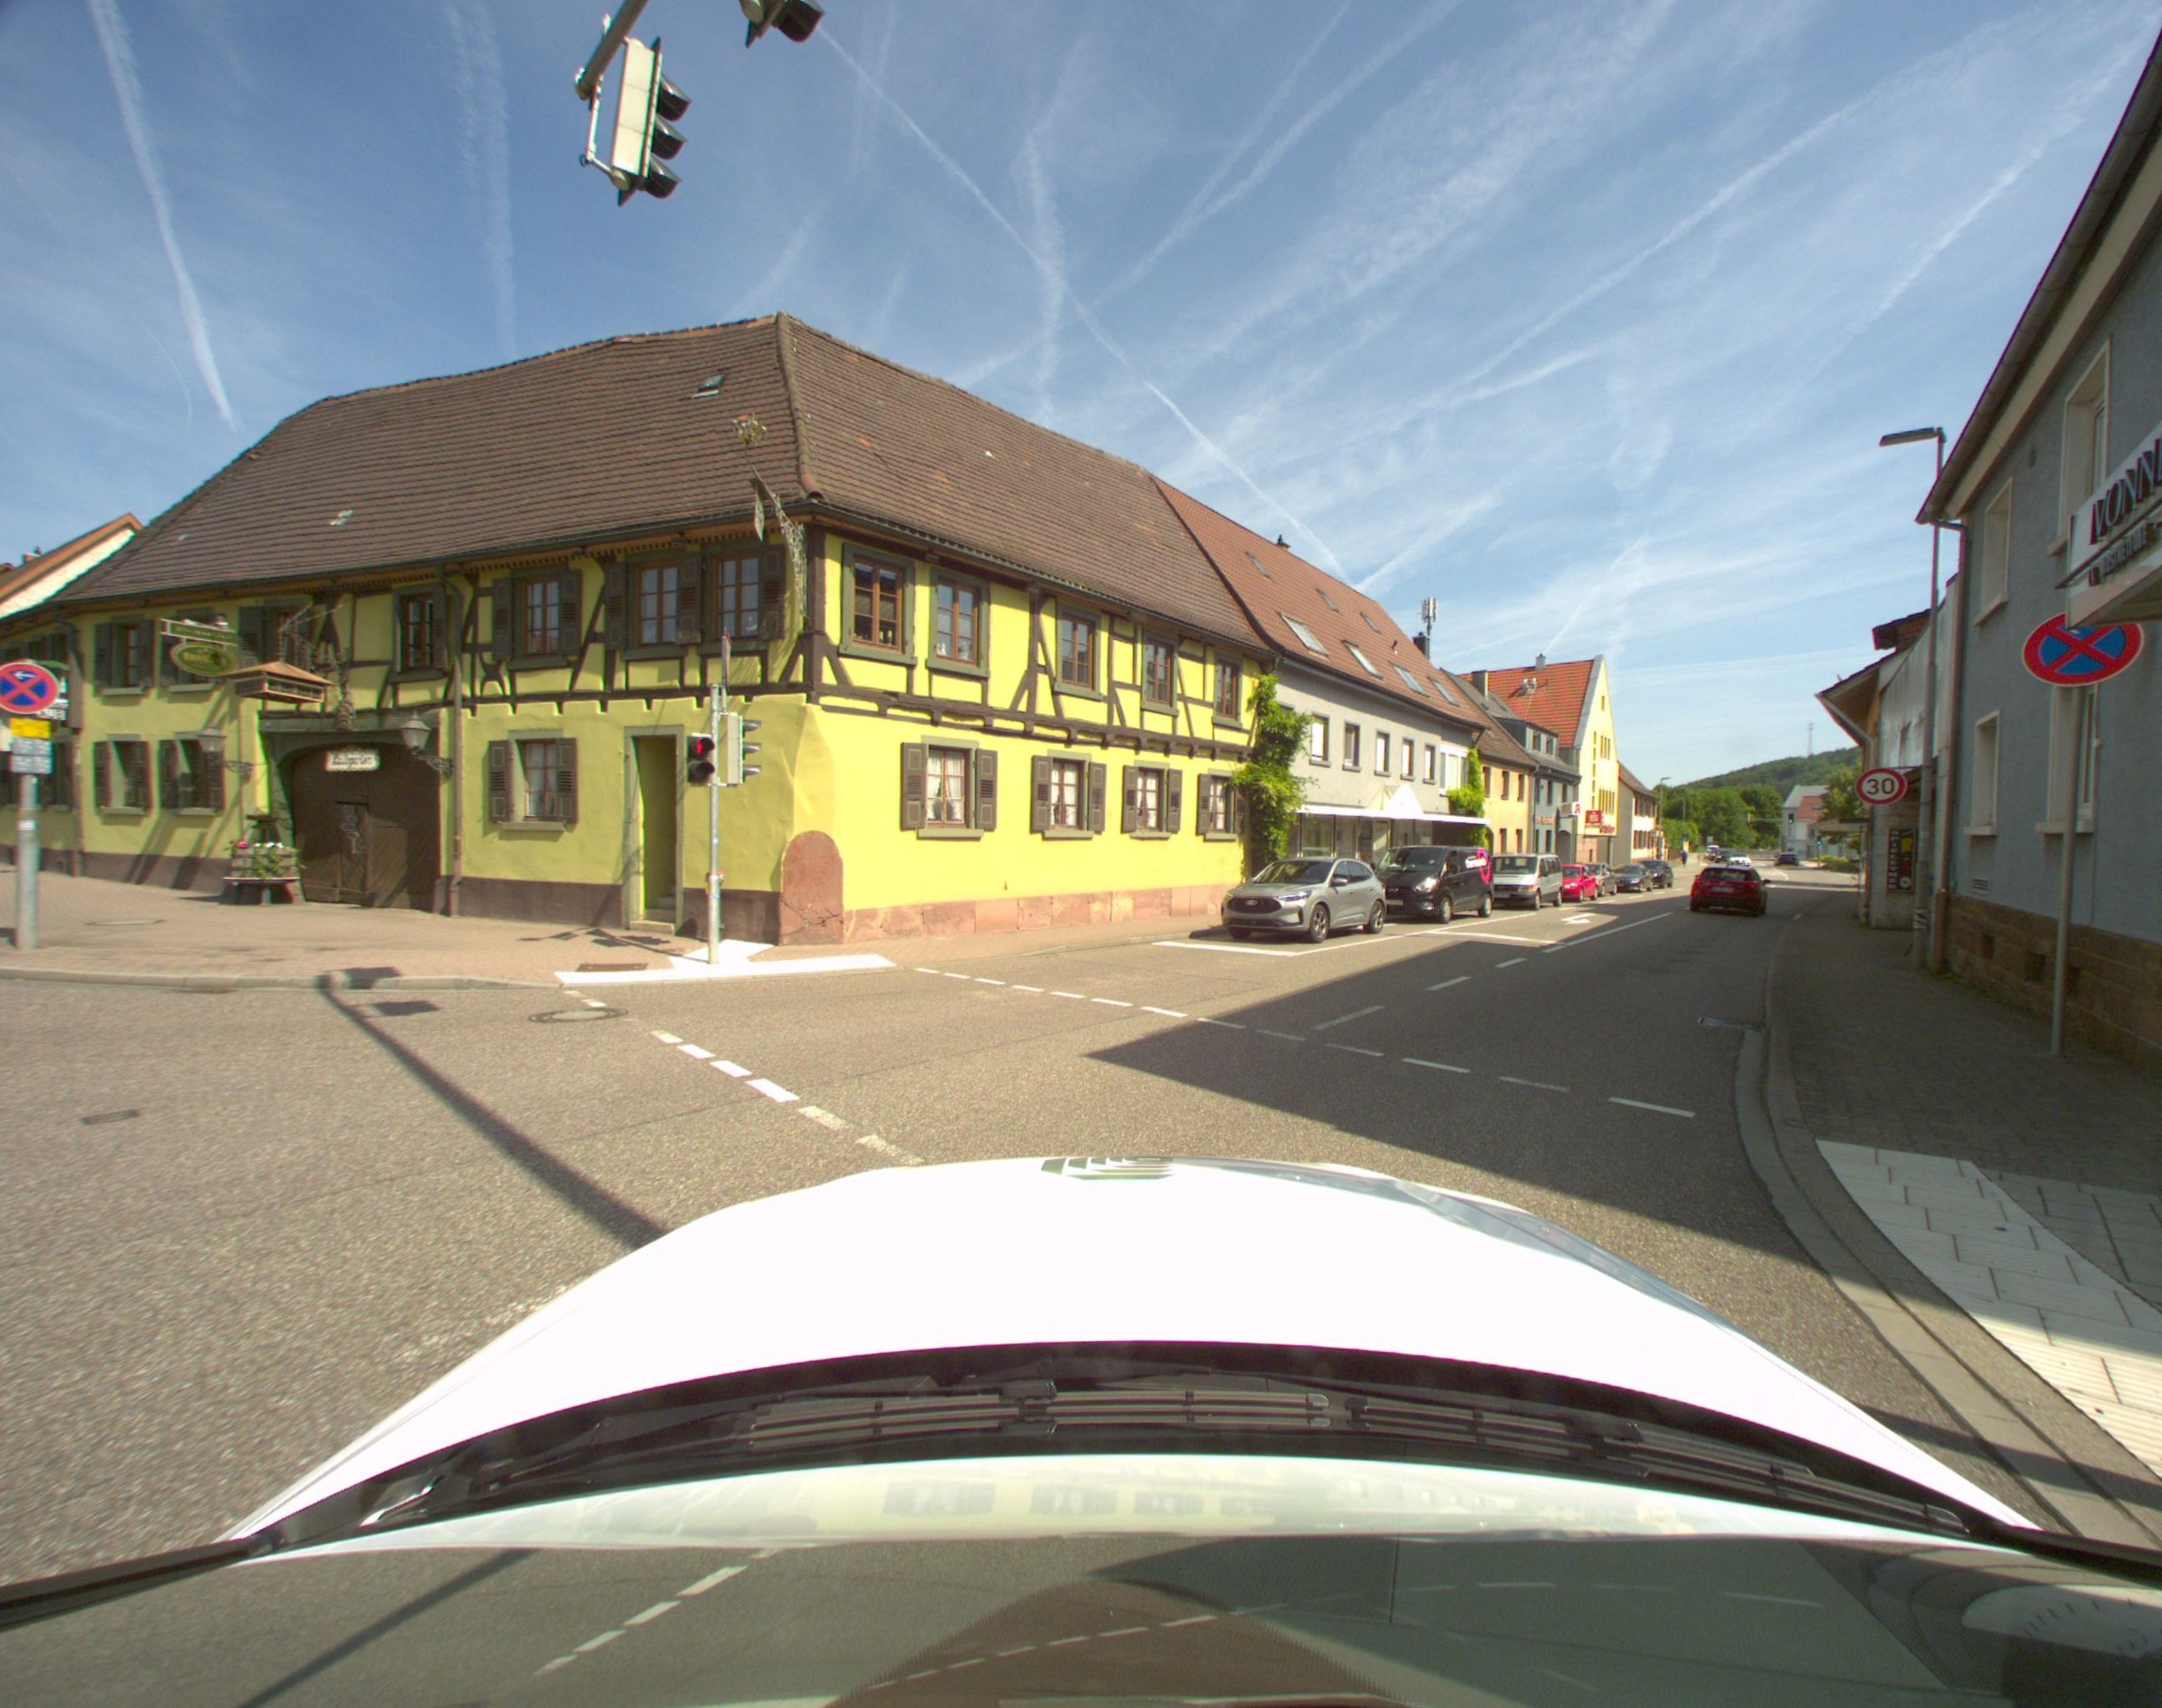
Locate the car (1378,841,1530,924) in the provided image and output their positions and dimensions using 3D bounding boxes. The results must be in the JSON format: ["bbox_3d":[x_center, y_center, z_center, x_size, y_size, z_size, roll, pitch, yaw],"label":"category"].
[{"bbox_3d":[9.921,0.689,21.420,2.139,1.923,5.196,-1,-1,42],"label":"car"}]

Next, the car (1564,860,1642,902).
[{"bbox_3d":[20.286,0.991,31.596,1.742,1.492,4.100,0,0,45],"label":"car"}]

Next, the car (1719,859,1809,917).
[{"bbox_3d":[23.001,1.063,27.375,4.447,1.714,1.842,0,2,-44],"label":"car"}]

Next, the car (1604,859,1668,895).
[{"bbox_3d":[25.306,1.013,37.093,4.042,1.520,1.614,1,0,-44],"label":"car"}]

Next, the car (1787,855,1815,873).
[{"bbox_3d":[78.660,1.127,88.926,3.977,1.794,1.915,3,-1,-43],"label":"car"}]

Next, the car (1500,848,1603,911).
[{"bbox_3d":[15.586,0.776,26.846,1.866,1.891,4.578,0,-1,44],"label":"car"}]

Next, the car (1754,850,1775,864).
[{"bbox_3d":[89.802,0.412,106.978,1.758,1.784,3.860,1,-1,45],"label":"car"}]

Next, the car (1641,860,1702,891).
[{"bbox_3d":[29.911,1.061,41.184,4.449,1.450,1.772,1,0,-44],"label":"car"}]

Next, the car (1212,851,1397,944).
[{"bbox_3d":[4.618,0.781,16.383,1.739,1.610,4.455,-1,-1,42],"label":"car"}]
